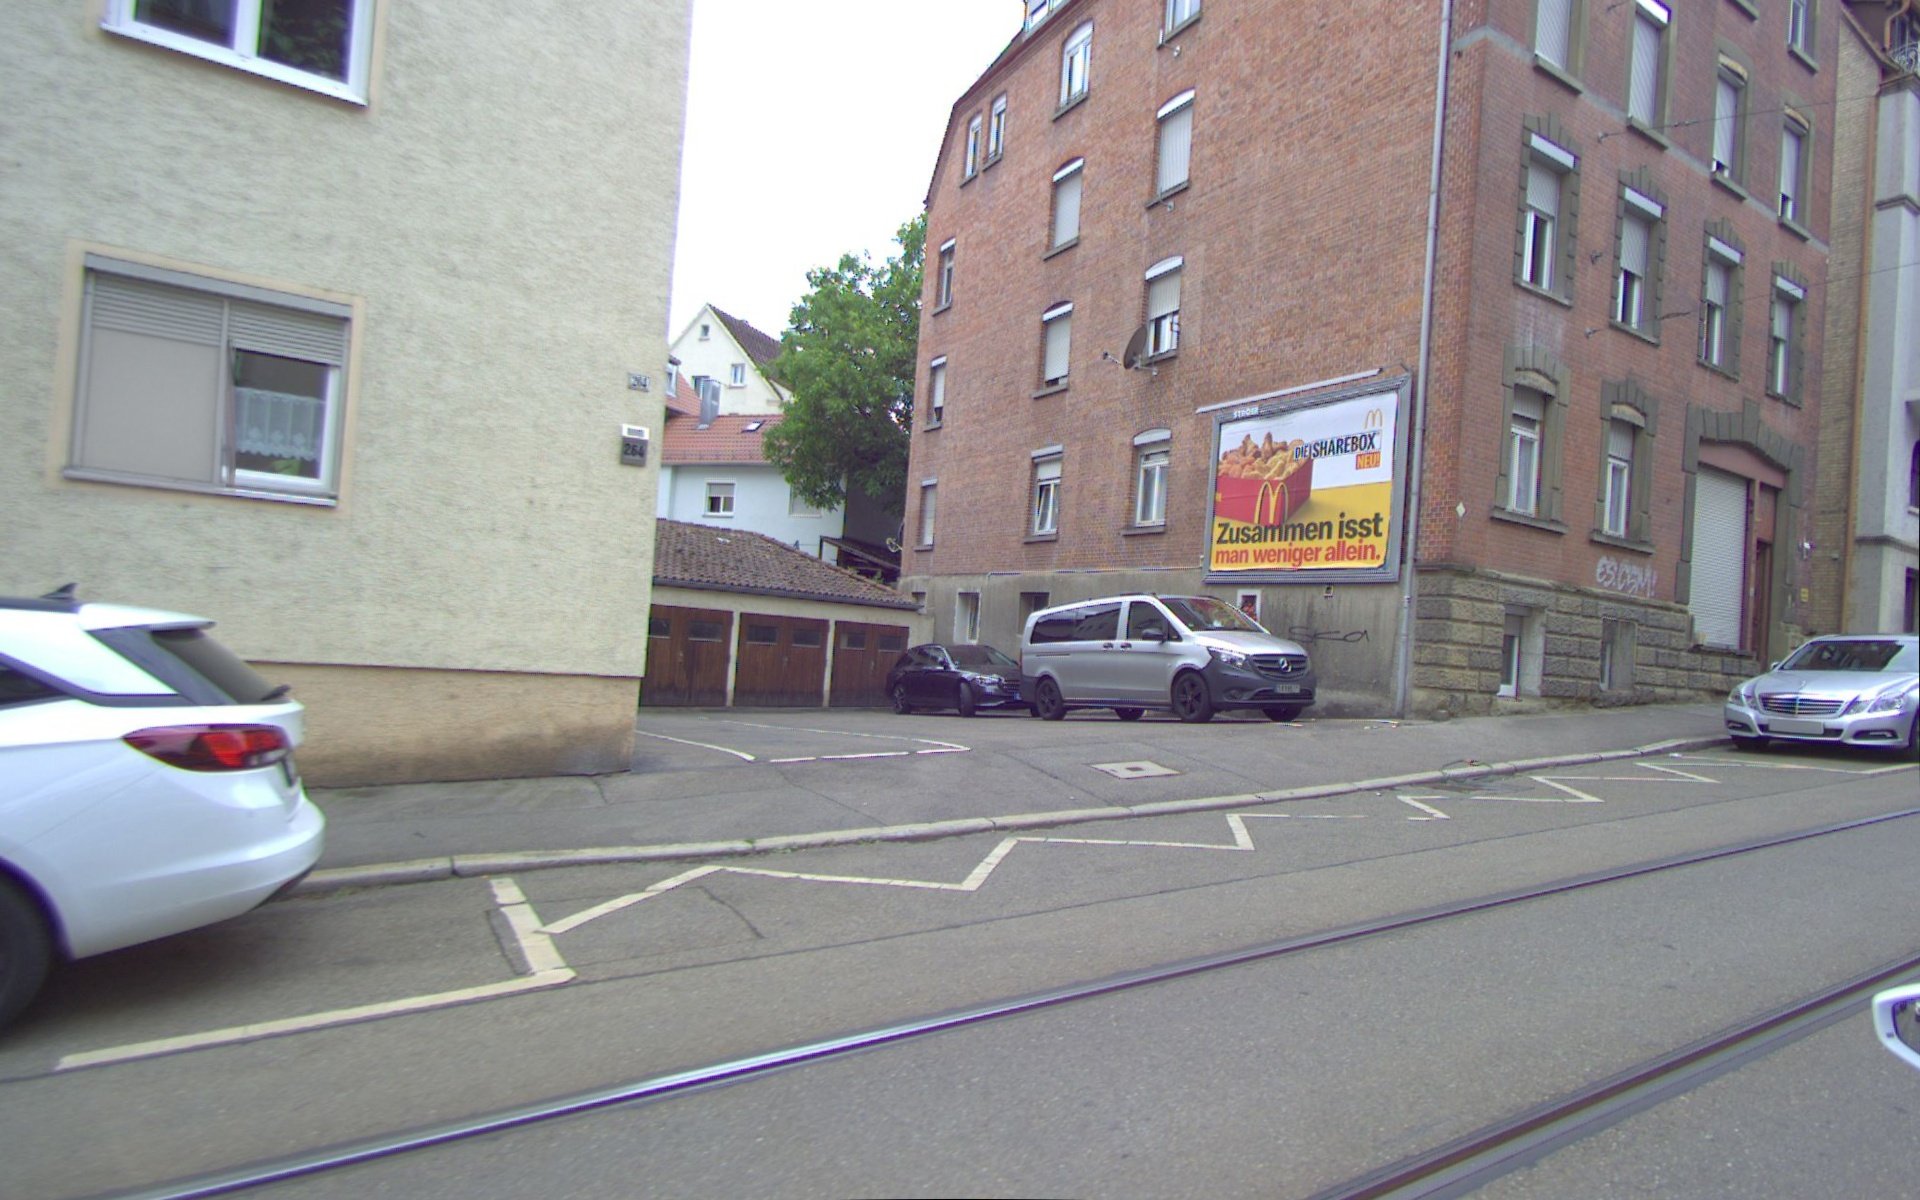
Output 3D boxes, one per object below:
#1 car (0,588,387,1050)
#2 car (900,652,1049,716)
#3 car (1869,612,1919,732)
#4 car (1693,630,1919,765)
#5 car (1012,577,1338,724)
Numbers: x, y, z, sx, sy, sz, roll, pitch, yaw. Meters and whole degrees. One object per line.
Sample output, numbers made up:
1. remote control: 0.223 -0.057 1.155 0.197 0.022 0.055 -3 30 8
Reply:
1. car: -4.544 0.711 3.269 4.577 1.447 1.818 1 -4 -33
2. car: 0.186 1.704 20.012 1.491 1.160 3.596 2 -6 -26
3. car: 16.245 1.077 15.540 4.855 1.741 1.819 1 -2 -30
4. car: 11.544 1.115 12.772 4.781 1.448 1.819 1 -2 -30
5. car: 2.981 0.884 15.297 1.917 1.841 5.155 1 -6 -29
